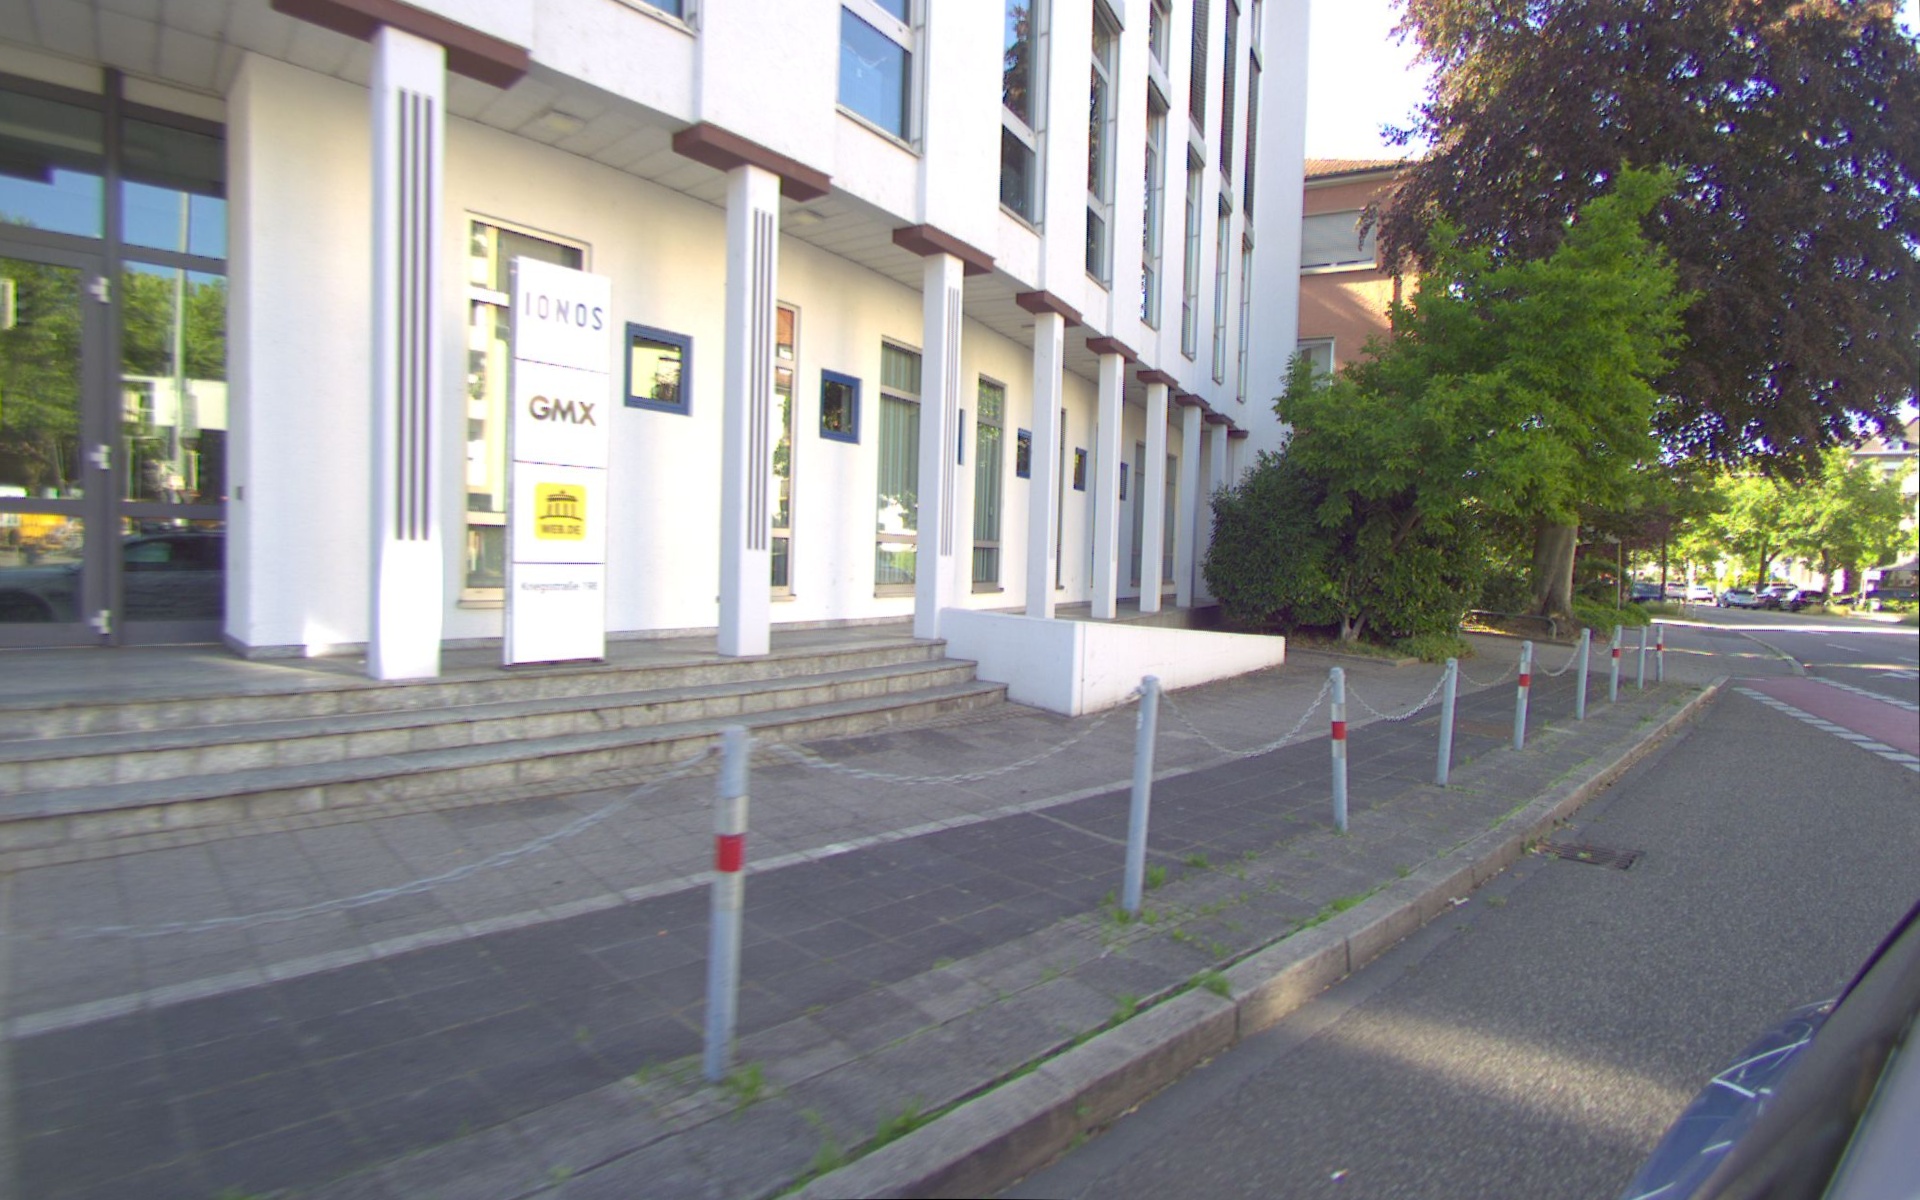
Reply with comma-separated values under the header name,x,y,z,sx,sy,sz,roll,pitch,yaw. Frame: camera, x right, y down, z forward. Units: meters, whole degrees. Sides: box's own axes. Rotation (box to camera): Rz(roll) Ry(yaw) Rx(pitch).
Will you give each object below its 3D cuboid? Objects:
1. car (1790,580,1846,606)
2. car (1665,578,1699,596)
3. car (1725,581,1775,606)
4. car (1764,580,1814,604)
name,x,y,z,sx,sy,sz,roll,pitch,yaw
car,54.209,-0.424,64.017,1.787,1.581,3.888,-1,0,26
car,63.455,-1.132,88.996,1.787,1.581,4.129,-1,0,26
car,53.169,-0.458,68.215,1.788,1.580,4.129,3,2,26
car,56.732,-0.536,69.308,1.787,1.581,3.888,-1,0,26
